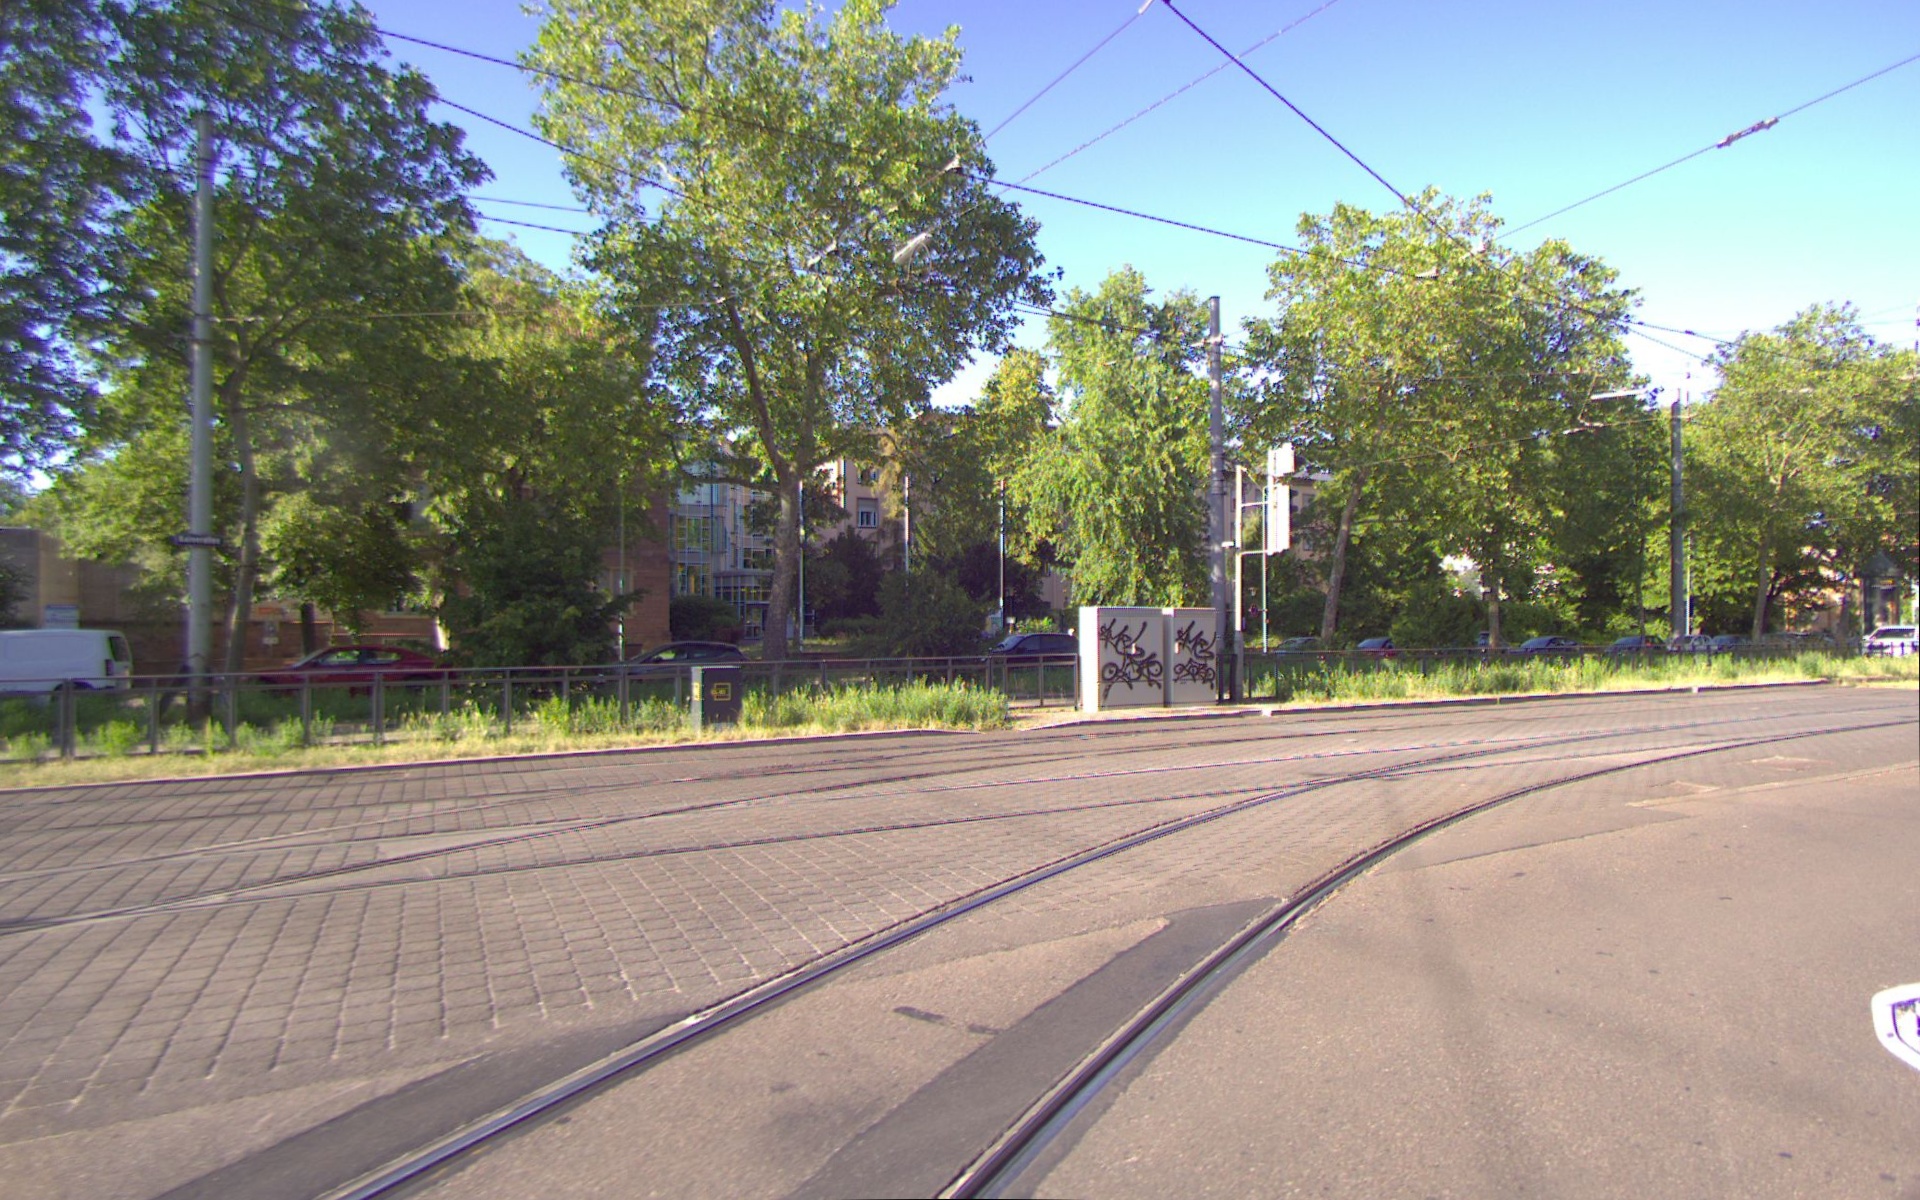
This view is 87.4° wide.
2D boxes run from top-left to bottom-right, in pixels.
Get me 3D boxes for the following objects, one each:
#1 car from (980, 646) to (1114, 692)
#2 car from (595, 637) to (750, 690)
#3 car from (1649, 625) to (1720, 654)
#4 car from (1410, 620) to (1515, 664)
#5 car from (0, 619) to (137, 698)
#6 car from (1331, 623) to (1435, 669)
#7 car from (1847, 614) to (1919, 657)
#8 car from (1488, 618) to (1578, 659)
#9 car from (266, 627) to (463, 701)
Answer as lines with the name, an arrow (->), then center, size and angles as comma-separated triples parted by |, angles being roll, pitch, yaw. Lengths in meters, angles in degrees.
car -> 2.728, 2.112, 31.277 | 3.975, 1.240, 1.588 | 1, 0, -29
car -> -7.592, 1.648, 26.602 | 3.715, 1.237, 1.614 | 0, -1, -28
car -> 36.869, 1.970, 51.103 | 3.460, 1.330, 1.561 | 0, 1, -28
car -> 21.738, 1.781, 43.400 | 4.462, 1.706, 1.983 | 0, 1, -31
car -> -19.740, 1.181, 20.462 | 4.291, 1.491, 1.734 | 0, 1, -28
car -> 17.292, 1.836, 41.014 | 3.954, 1.644, 1.983 | 0, 1, -31
car -> 40.160, 1.482, 43.013 | 4.542, 1.641, 1.877 | 0, 1, -30
car -> 26.348, 1.722, 46.175 | 3.952, 1.706, 1.813 | 0, 1, -30
car -> -13.712, 1.437, 23.375 | 3.769, 1.491, 1.587 | 0, 1, -25
